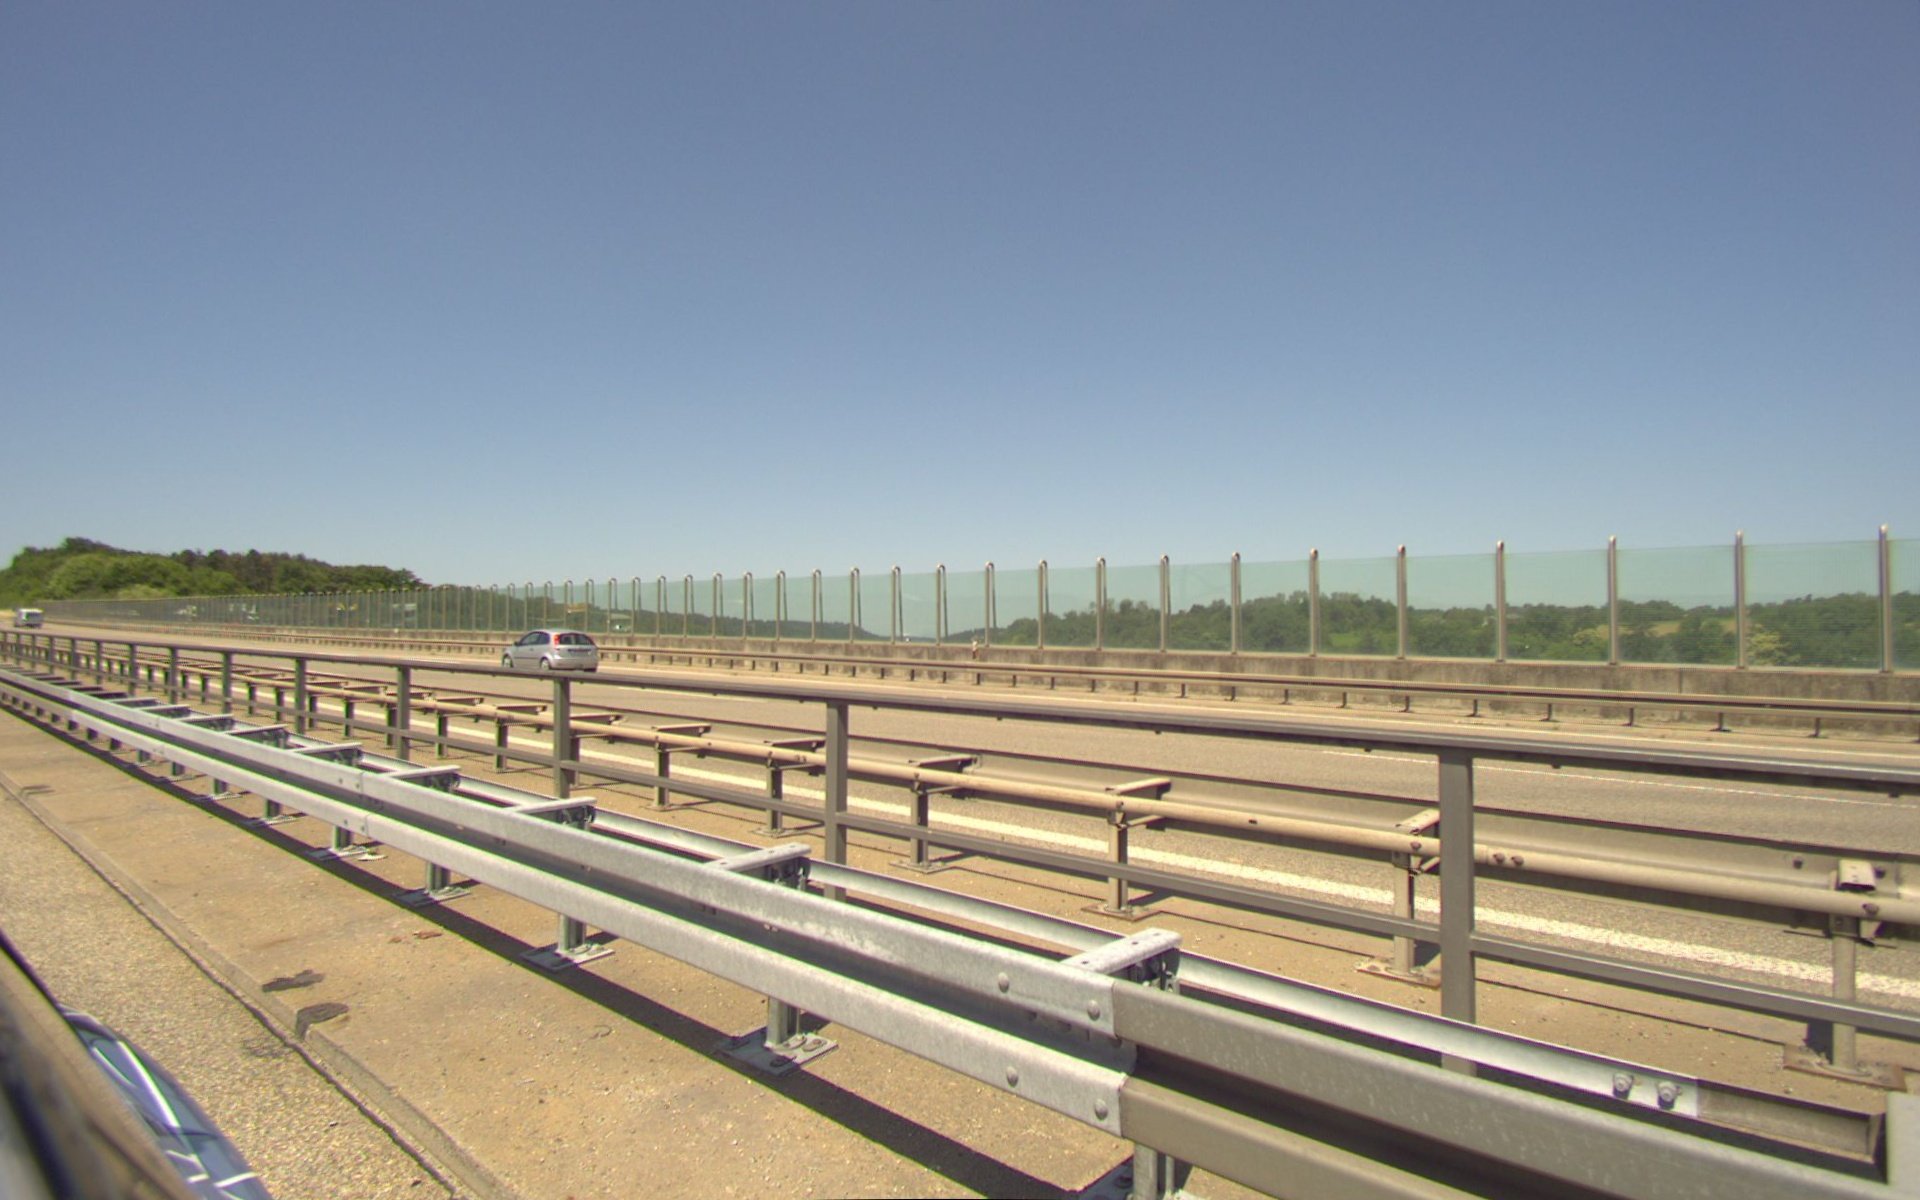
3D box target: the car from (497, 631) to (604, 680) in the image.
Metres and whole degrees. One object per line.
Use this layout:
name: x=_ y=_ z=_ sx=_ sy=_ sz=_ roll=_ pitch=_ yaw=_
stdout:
car: x=-12.945 y=1.723 z=31.913 sx=3.675 sy=1.405 sz=1.588 roll=0 pitch=-3 yaw=41

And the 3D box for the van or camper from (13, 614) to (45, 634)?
van or camper: x=-110.295 y=2.793 z=119.871 sx=5.533 sy=2.228 sz=1.973 roll=0 pitch=-3 yaw=41
